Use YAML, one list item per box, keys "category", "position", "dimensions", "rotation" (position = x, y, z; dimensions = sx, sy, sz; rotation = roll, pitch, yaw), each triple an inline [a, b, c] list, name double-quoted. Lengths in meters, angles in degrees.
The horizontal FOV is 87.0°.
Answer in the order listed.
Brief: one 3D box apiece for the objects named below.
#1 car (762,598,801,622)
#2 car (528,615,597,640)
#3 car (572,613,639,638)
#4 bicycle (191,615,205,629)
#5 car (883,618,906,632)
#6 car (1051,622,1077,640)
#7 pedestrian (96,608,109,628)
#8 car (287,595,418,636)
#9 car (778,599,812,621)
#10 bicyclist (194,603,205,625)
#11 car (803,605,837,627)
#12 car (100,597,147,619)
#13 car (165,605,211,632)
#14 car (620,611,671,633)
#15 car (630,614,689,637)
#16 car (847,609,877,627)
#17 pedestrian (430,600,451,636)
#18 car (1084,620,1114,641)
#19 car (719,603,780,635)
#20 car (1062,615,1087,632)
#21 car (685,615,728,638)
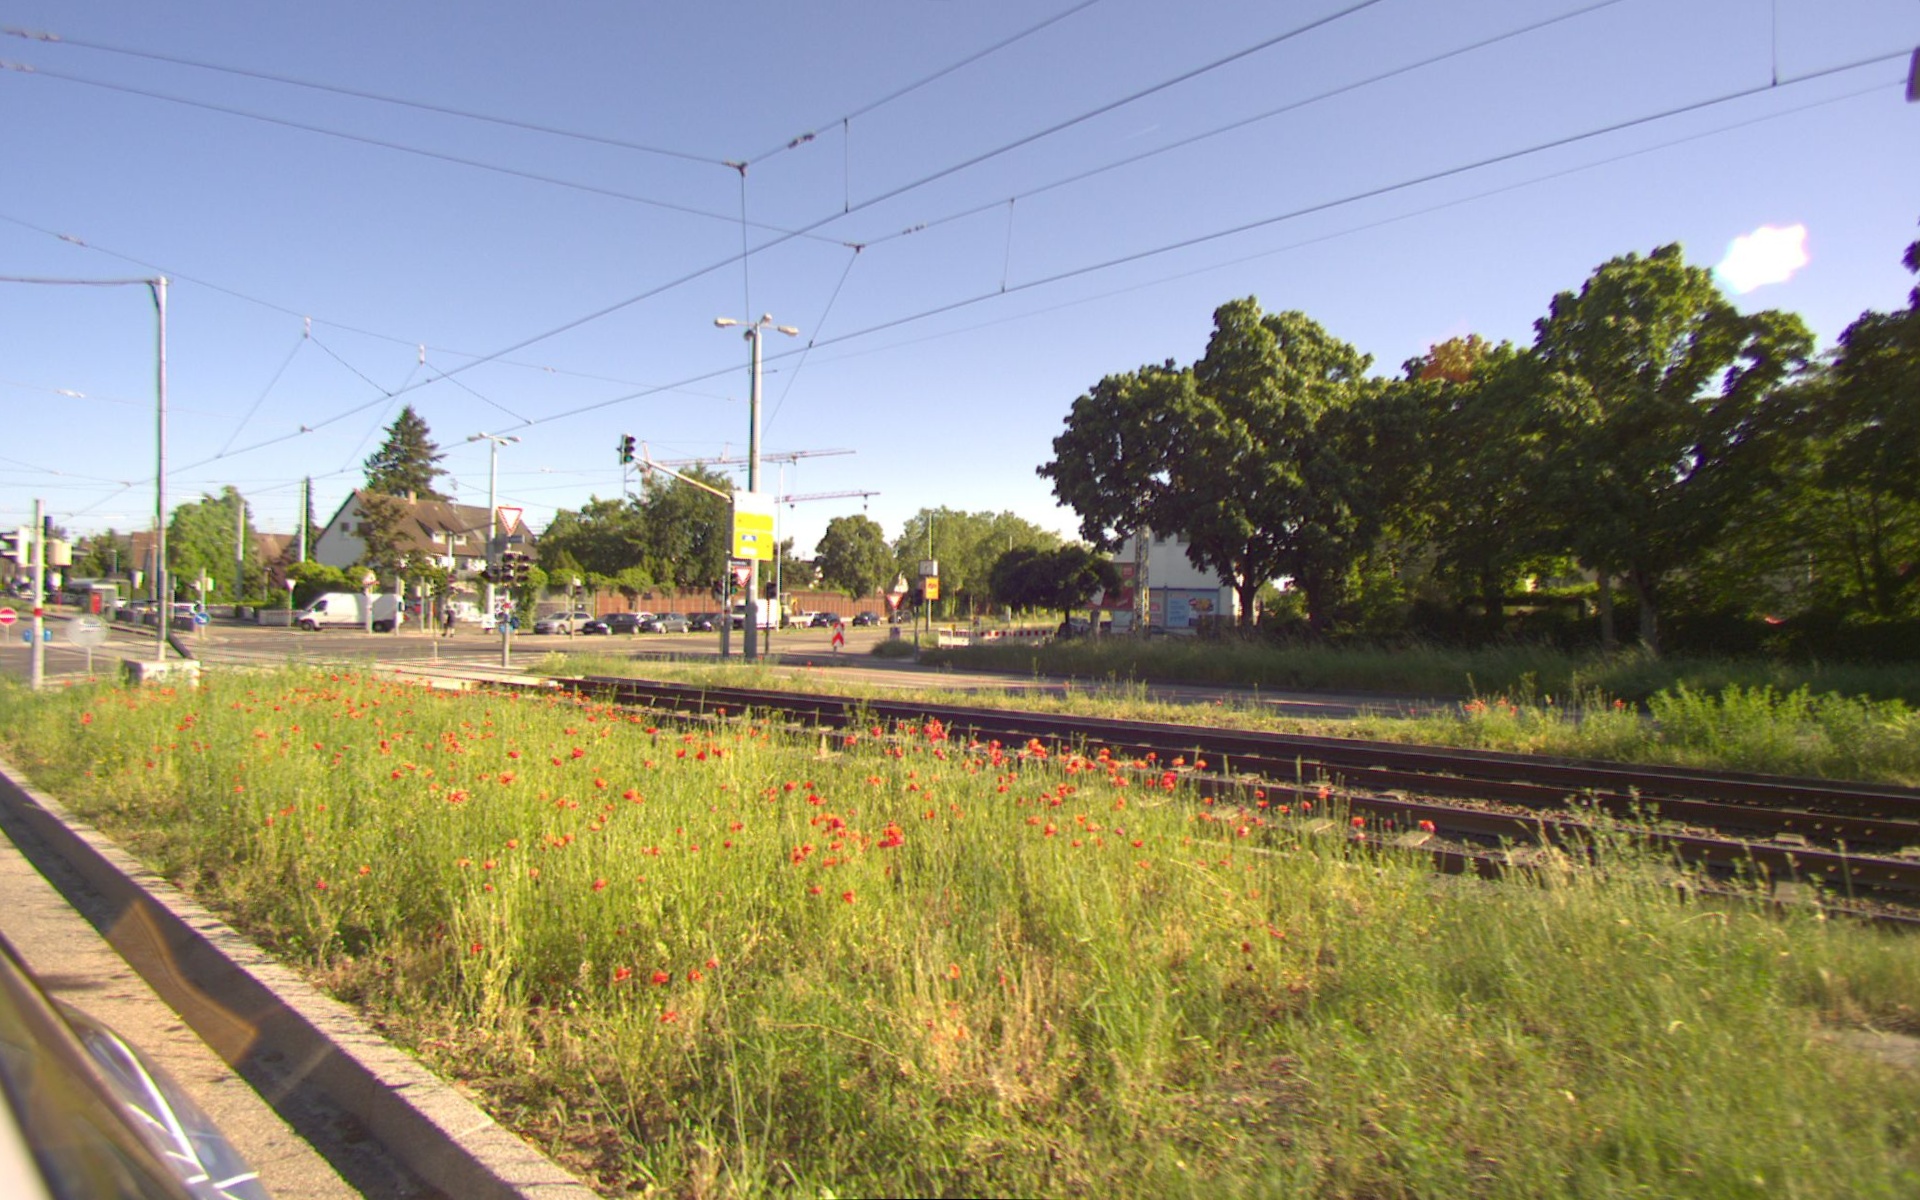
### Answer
- category: "car"
  position: [-15.176, 0.875, 86.083]
  dimensions: [1.791, 2.029, 3.981]
  rotation: [1, -1, 14]
- category: "car"
  position: [-25.056, 1.715, 64.003]
  dimensions: [1.657, 1.488, 4.613]
  rotation: [1, -1, 15]
- category: "car"
  position: [-22.120, 1.575, 63.273]
  dimensions: [1.920, 1.477, 4.228]
  rotation: [0, -1, 15]
- category: "bicycle"
  position: [-56.414, 1.636, 74.922]
  dimensions: [1.949, 1.050, 0.502]
  rotation: [0, -1, 43]
- category: "car"
  position: [-8.165, 3.140, 125.947]
  dimensions: [1.978, 1.719, 3.987]
  rotation: [0, -1, 10]
- category: "car"
  position: [10.474, 3.103, 101.605]
  dimensions: [1.982, 1.775, 3.979]
  rotation: [0, -1, 16]
- category: "pedestrian"
  position: [-61.554, 1.326, 72.620]
  dimensions: [0.711, 1.425, 0.615]
  rotation: [-1, -2, 41]
- category: "car"
  position: [-38.739, 0.990, 64.760]
  dimensions: [6.753, 2.476, 2.356]
  rotation: [1, -1, -16]
- category: "car"
  position: [-15.893, 0.977, 97.668]
  dimensions: [1.791, 2.029, 3.982]
  rotation: [1, -1, 14]
- category: "bicyclist"
  position: [-56.168, 1.056, 74.719]
  dimensions: [0.648, 1.620, 0.484]
  rotation: [0, -1, 42]
- category: "car"
  position: [-12.949, 1.490, 94.024]
  dimensions: [1.791, 2.029, 3.982]
  rotation: [1, -1, 14]
- category: "car"
  position: [-64.202, 0.611, 77.669]
  dimensions: [4.687, 1.608, 1.796]
  rotation: [0, -1, 38]
- category: "car"
  position: [-50.304, 1.175, 65.904]
  dimensions: [4.002, 1.700, 1.771]
  rotation: [0, -1, 44]
- category: "car"
  position: [-22.550, 1.578, 72.730]
  dimensions: [1.657, 1.488, 3.980]
  rotation: [1, -1, 15]
- category: "car"
  position: [-20.312, 1.722, 68.514]
  dimensions: [1.920, 1.477, 4.238]
  rotation: [0, -1, 15]
- category: "car"
  position: [-9.831, 1.789, 102.042]
  dimensions: [1.791, 1.755, 3.982]
  rotation: [0, -1, 14]
- category: "pedestrian"
  position: [-28.282, 0.971, 55.096]
  dimensions: [0.765, 1.963, 0.611]
  rotation: [1, -1, -1]
- category: "car"
  position: [11.928, 2.586, 86.791]
  dimensions: [1.982, 1.775, 3.978]
  rotation: [0, -1, 16]
- category: "car"
  position: [-16.604, 1.487, 80.217]
  dimensions: [2.162, 2.429, 5.888]
  rotation: [1, -1, 17]
- category: "car"
  position: [12.032, 2.431, 106.121]
  dimensions: [1.982, 1.775, 3.979]
  rotation: [0, -1, 16]
- category: "car"
  position: [-18.452, 1.913, 73.719]
  dimensions: [1.485, 1.579, 3.508]
  rotation: [0, -1, 17]
